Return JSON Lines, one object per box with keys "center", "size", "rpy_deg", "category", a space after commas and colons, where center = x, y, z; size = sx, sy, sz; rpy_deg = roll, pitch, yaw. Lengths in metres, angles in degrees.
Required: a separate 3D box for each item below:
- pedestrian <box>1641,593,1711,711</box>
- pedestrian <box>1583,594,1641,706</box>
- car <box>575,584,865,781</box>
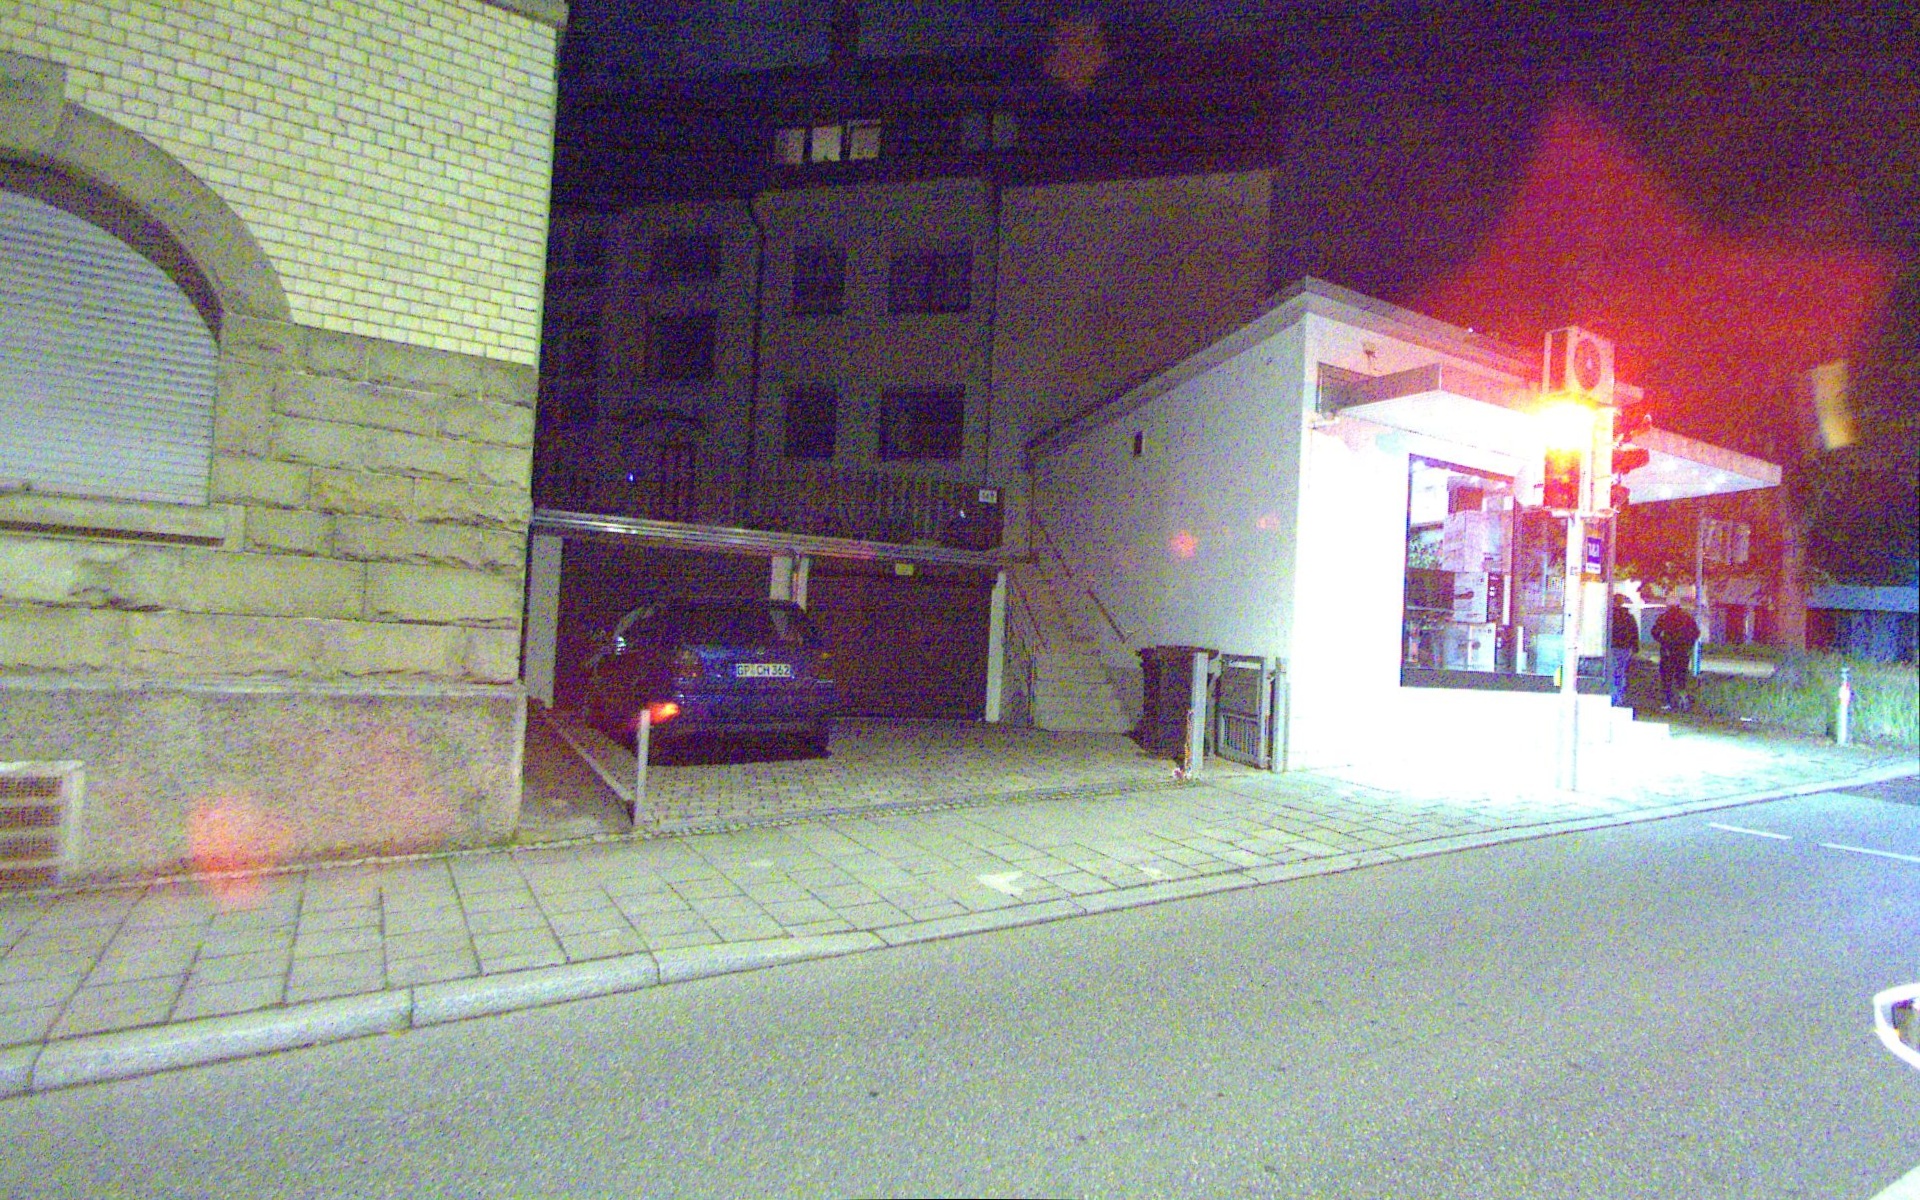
{"center": [11.332, 0.813, 15.897], "size": [0.729, 1.801, 0.567], "rpy_deg": [2, 2, -30], "category": "pedestrian"}
{"center": [10.474, 0.790, 16.139], "size": [0.537, 1.754, 0.567], "rpy_deg": [2, 0, -30], "category": "pedestrian"}
{"center": [-2.451, 0.620, 9.575], "size": [1.700, 1.460, 3.631], "rpy_deg": [2, 0, -30], "category": "car"}
